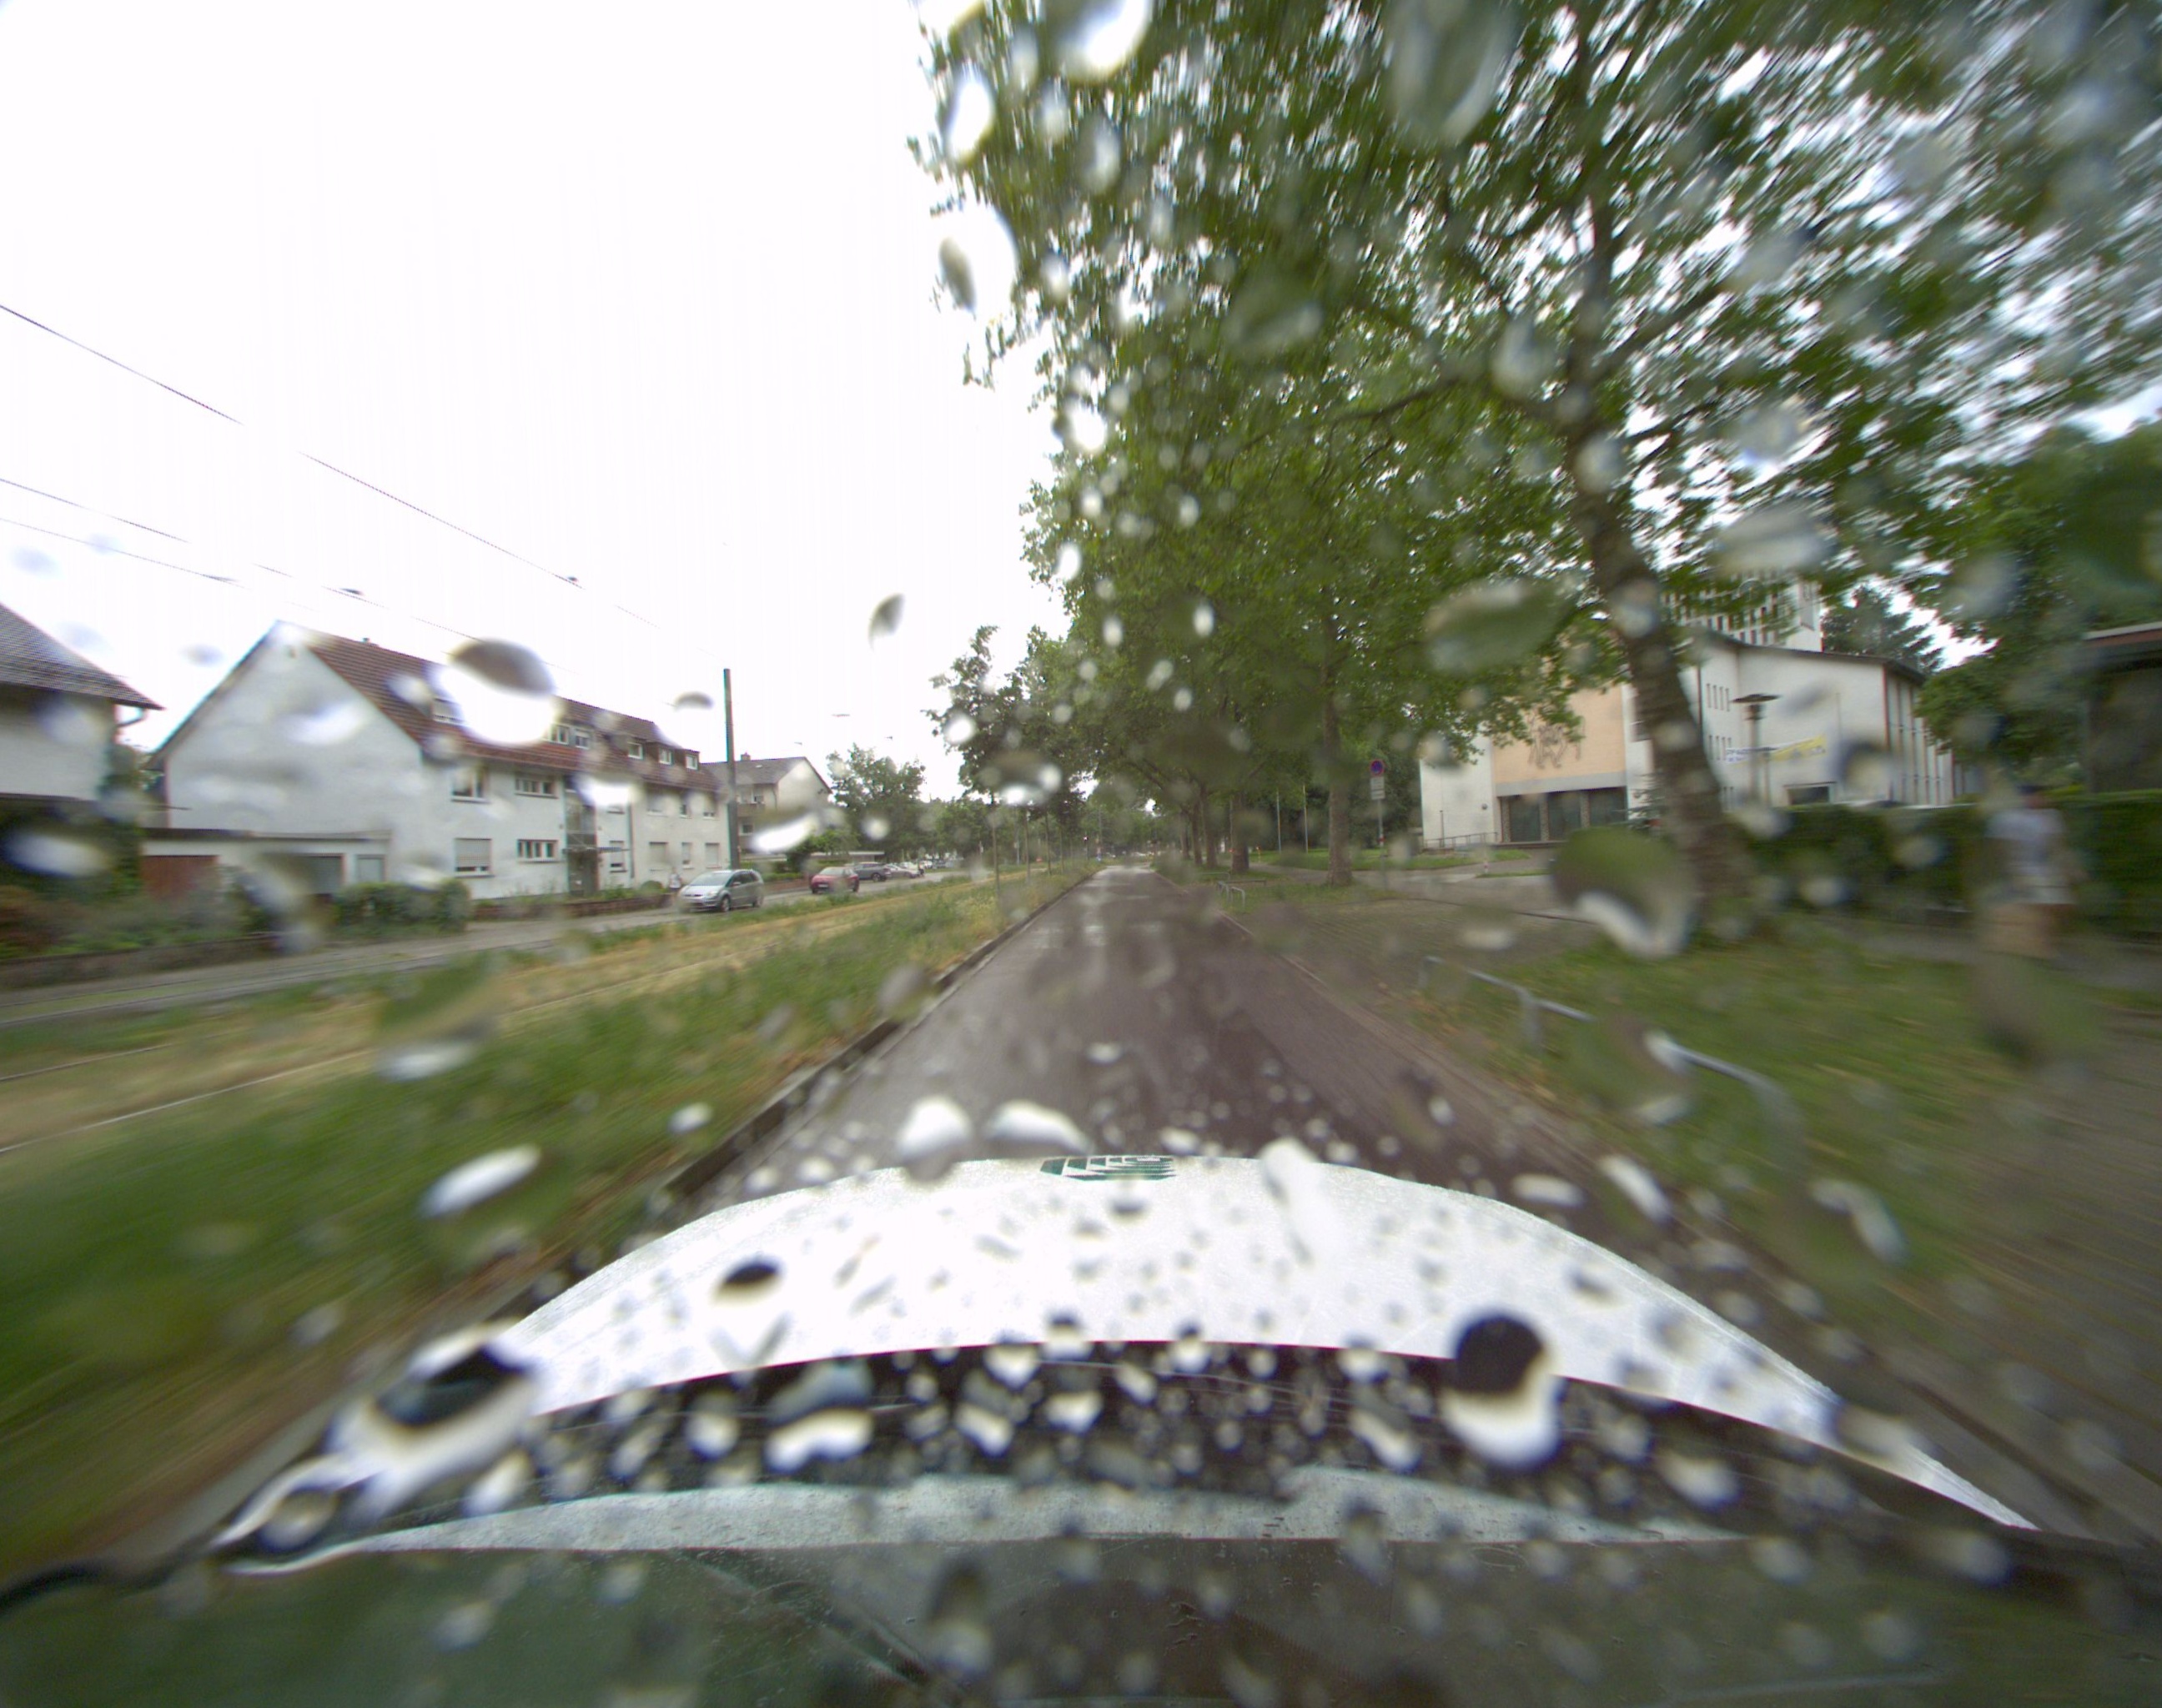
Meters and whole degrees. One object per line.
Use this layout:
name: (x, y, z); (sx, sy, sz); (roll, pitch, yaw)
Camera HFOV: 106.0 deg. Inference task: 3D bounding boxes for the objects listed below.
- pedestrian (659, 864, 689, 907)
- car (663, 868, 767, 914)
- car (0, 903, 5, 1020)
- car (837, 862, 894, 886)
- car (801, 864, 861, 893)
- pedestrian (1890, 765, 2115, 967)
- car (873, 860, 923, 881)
pedestrian: (-17.328, 1.313, 34.695); (0.699, 1.755, 0.855); (-3, 0, 2)
car: (-14.607, 1.421, 32.785); (1.986, 1.581, 4.519); (-1, 1, 2)
car: (-16.077, 1.539, 9.151); (1.986, 1.614, 4.415); (-1, 1, 2)
car: (-17.267, 1.563, 65.450); (3.975, 1.616, 2.000); (-4, 0, -1)
car: (-14.196, 1.368, 46.511); (1.986, 1.488, 4.207); (-1, 1, 2)
pedestrian: (7.694, 0.092, 6.849); (0.831, 1.538, 0.859); (-4, 0, -3)
car: (-16.513, 1.499, 73.585); (3.975, 1.616, 2.000); (-4, 0, -1)
